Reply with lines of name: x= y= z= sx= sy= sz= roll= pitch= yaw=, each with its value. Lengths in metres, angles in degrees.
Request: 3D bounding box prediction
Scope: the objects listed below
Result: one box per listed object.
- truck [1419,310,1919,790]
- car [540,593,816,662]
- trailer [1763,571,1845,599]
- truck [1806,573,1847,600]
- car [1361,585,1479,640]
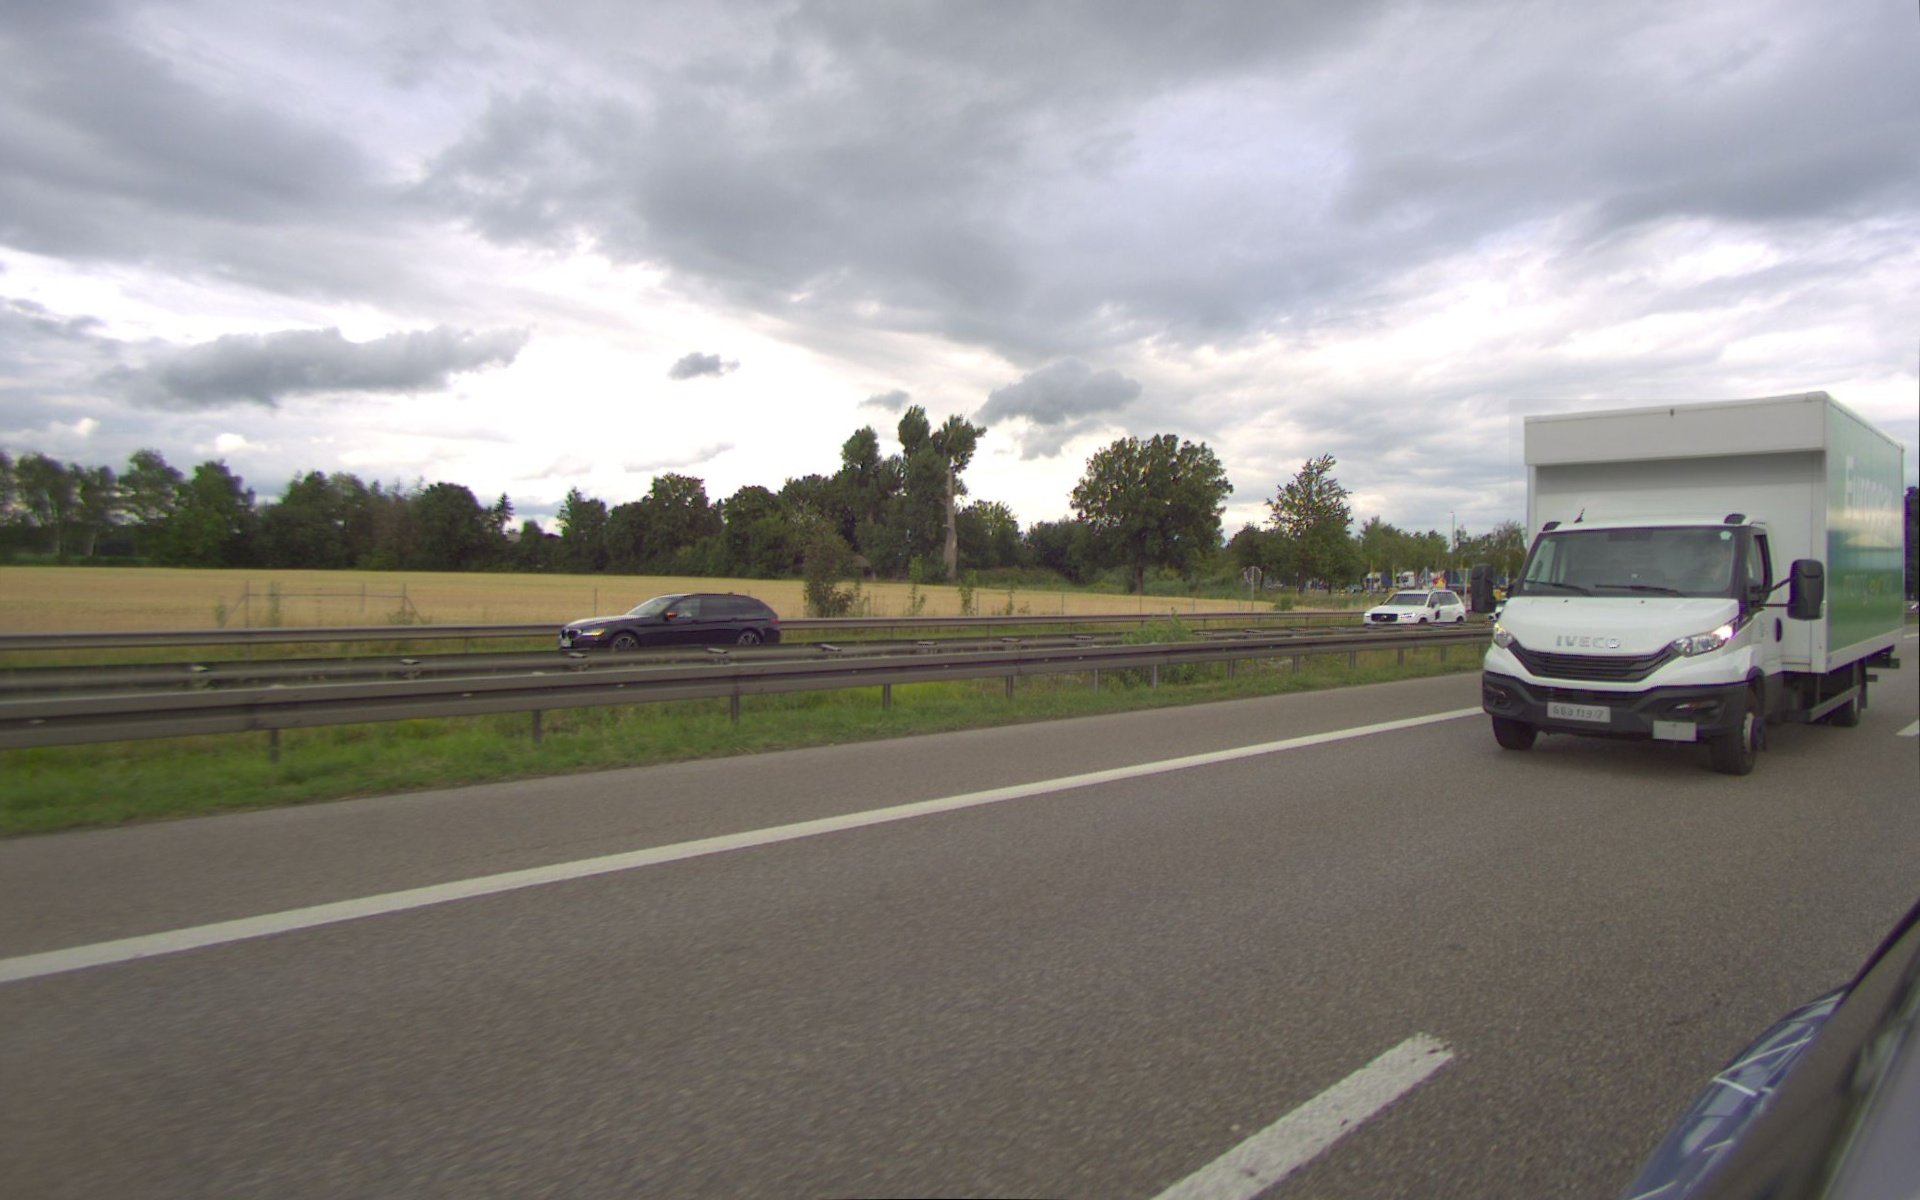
truck: x=8.612 y=-0.379 z=11.467 sx=8.903 sy=3.549 sz=2.775 roll=0 pitch=0 yaw=-41
car: x=-6.021 y=0.529 z=22.191 sx=5.614 sy=1.333 sz=1.831 roll=0 pitch=0 yaw=-41
trailer: x=151.832 y=-2.573 z=182.499 sx=2.814 sy=4.737 sz=15.786 roll=0 pitch=0 yaw=5
truck: x=151.311 y=-2.270 z=176.814 sx=2.827 sy=4.683 sz=5.165 roll=0 pitch=0 yaw=5
car: x=16.177 y=0.410 z=35.478 sx=4.976 sy=1.779 sz=1.831 roll=0 pitch=1 yaw=-41
